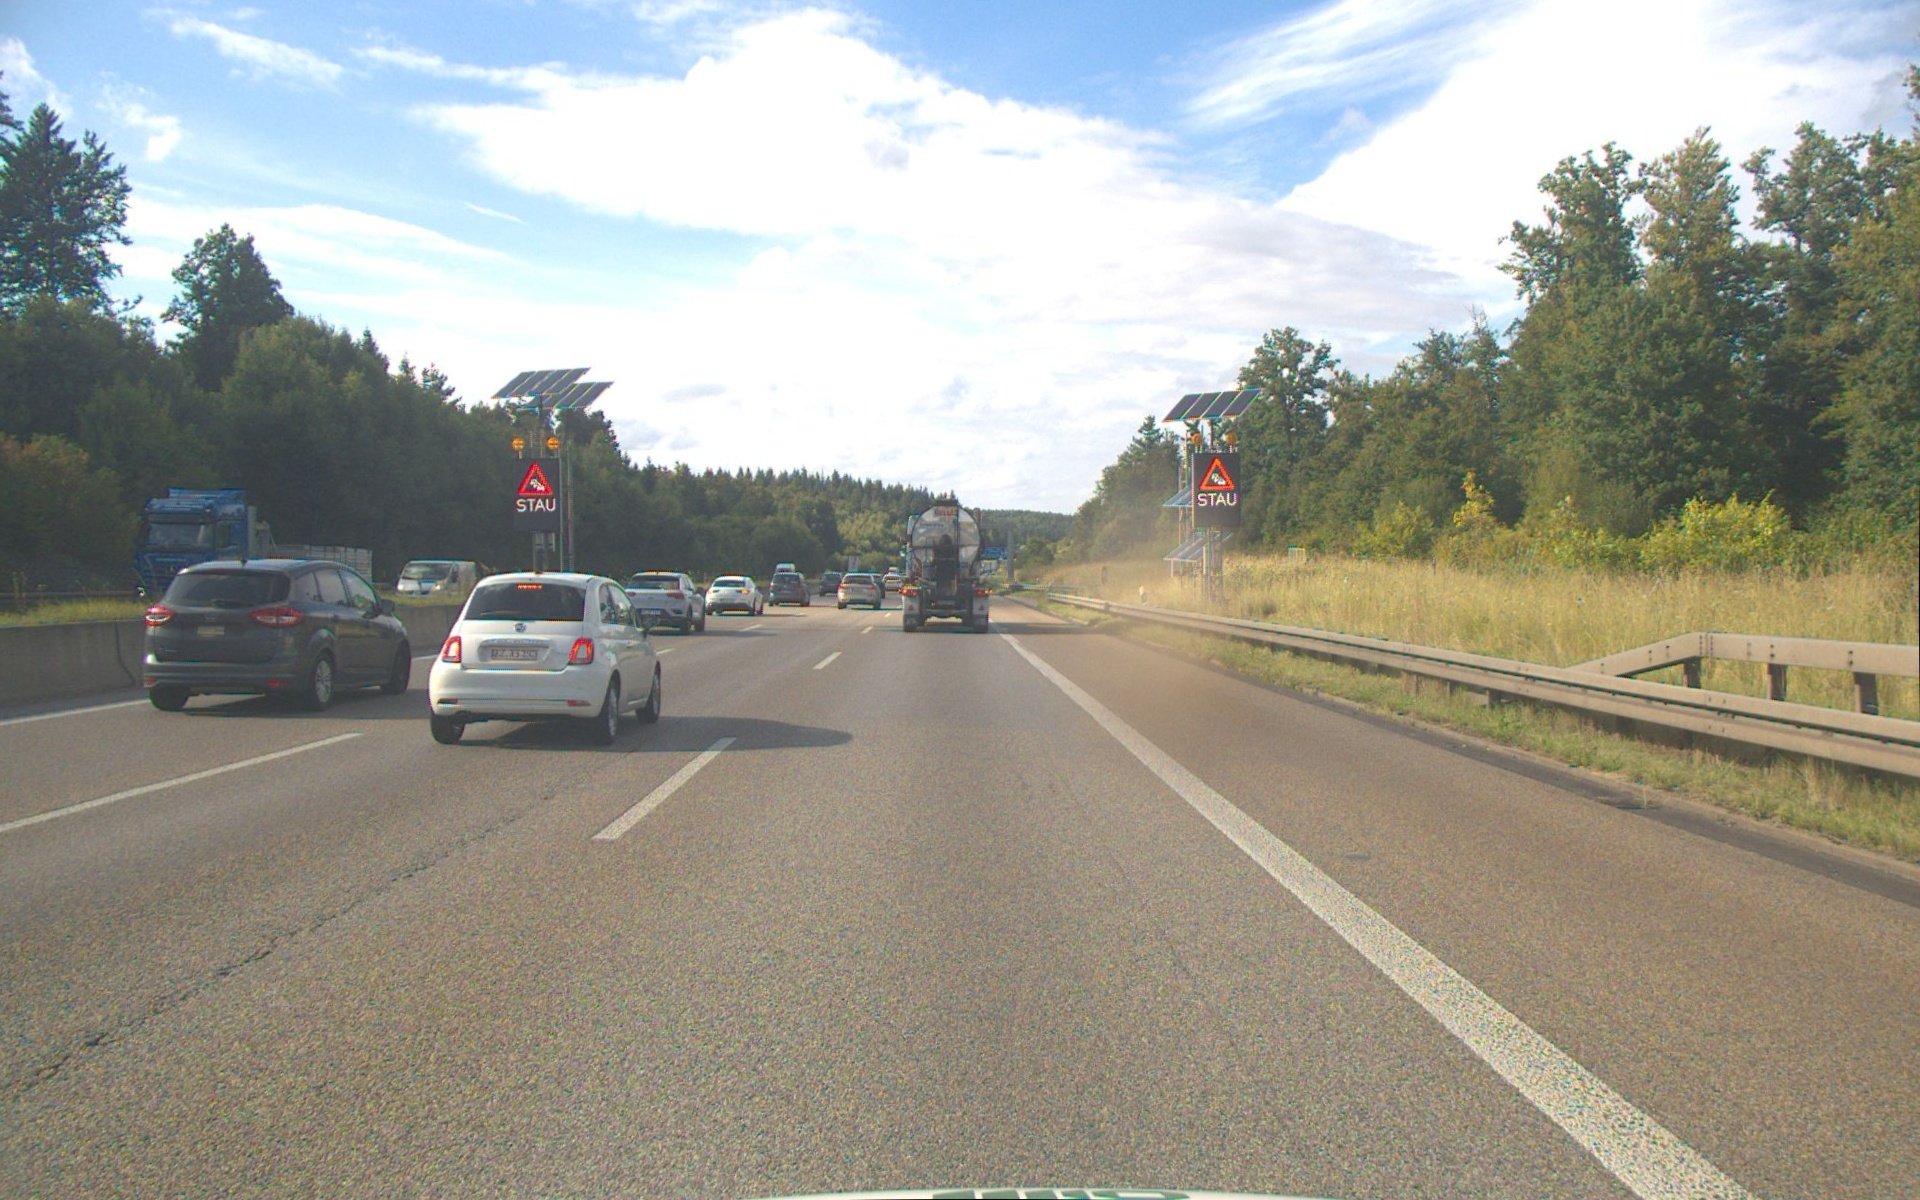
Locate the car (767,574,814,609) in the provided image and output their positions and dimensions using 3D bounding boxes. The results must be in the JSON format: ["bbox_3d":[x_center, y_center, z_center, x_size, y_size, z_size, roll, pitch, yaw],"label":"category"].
[{"bbox_3d":[-8.314,-0.437,81.290,1.903,1.613,4.206,1,1,-1],"label":"car"}]

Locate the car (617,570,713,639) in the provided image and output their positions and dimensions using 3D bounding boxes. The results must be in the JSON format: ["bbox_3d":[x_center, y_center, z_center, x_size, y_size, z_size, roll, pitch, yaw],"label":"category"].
[{"bbox_3d":[-7.569,0.073,42.776,1.770,1.613,4.206,1,1,-1],"label":"car"}]

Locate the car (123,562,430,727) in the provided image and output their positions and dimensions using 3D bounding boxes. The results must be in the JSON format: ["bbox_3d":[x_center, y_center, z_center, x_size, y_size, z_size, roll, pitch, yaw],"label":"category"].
[{"bbox_3d":[-7.544,0.400,18.717,1.770,1.613,4.206,1,1,-1],"label":"car"}]

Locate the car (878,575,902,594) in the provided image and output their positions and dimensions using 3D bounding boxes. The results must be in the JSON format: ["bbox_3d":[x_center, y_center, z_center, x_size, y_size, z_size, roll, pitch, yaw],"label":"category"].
[{"bbox_3d":[-5.897,-1.319,140.375,1.903,1.482,4.206,1,1,-1],"label":"car"}]

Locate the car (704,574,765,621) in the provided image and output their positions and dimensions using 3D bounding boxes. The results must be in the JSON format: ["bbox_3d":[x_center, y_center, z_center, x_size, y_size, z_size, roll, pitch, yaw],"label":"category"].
[{"bbox_3d":[-8.409,-0.134,61.909,1.770,1.613,4.206,1,1,-1],"label":"car"}]

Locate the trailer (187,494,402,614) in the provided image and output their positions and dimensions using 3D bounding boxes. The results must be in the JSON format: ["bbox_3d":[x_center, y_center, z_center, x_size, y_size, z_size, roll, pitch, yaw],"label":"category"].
[{"bbox_3d":[-23.931,-1.594,60.472,3.060,3.904,12.207,0,1,-1],"label":"trailer"}]

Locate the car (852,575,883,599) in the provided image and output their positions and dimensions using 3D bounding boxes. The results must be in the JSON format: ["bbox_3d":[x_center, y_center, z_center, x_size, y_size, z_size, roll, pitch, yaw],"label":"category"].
[{"bbox_3d":[-6.164,-0.883,110.718,1.903,1.482,4.206,1,1,-1],"label":"car"}]

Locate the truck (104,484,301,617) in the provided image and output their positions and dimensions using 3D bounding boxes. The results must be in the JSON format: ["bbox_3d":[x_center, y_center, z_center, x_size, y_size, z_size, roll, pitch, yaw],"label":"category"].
[{"bbox_3d":[-23.816,-1.499,52.476,3.051,3.904,7.122,0,1,-1],"label":"truck"}]

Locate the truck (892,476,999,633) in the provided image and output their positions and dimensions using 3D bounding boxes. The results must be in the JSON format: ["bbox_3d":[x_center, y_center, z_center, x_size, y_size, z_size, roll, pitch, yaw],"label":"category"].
[{"bbox_3d":[-0.414,-1.323,50.566,2.853,4.230,11.269,1,1,0],"label":"truck"}]

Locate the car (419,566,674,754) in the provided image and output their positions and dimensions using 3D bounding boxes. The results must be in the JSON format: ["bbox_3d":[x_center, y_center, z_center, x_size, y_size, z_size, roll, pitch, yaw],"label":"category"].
[{"bbox_3d":[-3.817,0.497,15.830,1.585,1.571,3.519,1,1,-1],"label":"car"}]

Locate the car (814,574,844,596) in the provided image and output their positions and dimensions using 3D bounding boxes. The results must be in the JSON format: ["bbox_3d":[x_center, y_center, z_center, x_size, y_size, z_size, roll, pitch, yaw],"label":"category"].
[{"bbox_3d":[-9.390,-1.068,119.031,1.903,1.482,4.206,1,1,-1],"label":"car"}]

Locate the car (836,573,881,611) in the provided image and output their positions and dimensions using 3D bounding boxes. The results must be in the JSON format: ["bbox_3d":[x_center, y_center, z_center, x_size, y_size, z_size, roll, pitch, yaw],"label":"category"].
[{"bbox_3d":[-4.697,-0.395,77.038,1.903,1.683,4.206,1,1,-1],"label":"car"}]

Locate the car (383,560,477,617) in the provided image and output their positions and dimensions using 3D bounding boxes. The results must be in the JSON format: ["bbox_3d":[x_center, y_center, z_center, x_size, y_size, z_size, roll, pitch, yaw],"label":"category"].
[{"bbox_3d":[-19.719,-0.447,61.771,1.953,2.049,4.859,0,1,0],"label":"car"}]
